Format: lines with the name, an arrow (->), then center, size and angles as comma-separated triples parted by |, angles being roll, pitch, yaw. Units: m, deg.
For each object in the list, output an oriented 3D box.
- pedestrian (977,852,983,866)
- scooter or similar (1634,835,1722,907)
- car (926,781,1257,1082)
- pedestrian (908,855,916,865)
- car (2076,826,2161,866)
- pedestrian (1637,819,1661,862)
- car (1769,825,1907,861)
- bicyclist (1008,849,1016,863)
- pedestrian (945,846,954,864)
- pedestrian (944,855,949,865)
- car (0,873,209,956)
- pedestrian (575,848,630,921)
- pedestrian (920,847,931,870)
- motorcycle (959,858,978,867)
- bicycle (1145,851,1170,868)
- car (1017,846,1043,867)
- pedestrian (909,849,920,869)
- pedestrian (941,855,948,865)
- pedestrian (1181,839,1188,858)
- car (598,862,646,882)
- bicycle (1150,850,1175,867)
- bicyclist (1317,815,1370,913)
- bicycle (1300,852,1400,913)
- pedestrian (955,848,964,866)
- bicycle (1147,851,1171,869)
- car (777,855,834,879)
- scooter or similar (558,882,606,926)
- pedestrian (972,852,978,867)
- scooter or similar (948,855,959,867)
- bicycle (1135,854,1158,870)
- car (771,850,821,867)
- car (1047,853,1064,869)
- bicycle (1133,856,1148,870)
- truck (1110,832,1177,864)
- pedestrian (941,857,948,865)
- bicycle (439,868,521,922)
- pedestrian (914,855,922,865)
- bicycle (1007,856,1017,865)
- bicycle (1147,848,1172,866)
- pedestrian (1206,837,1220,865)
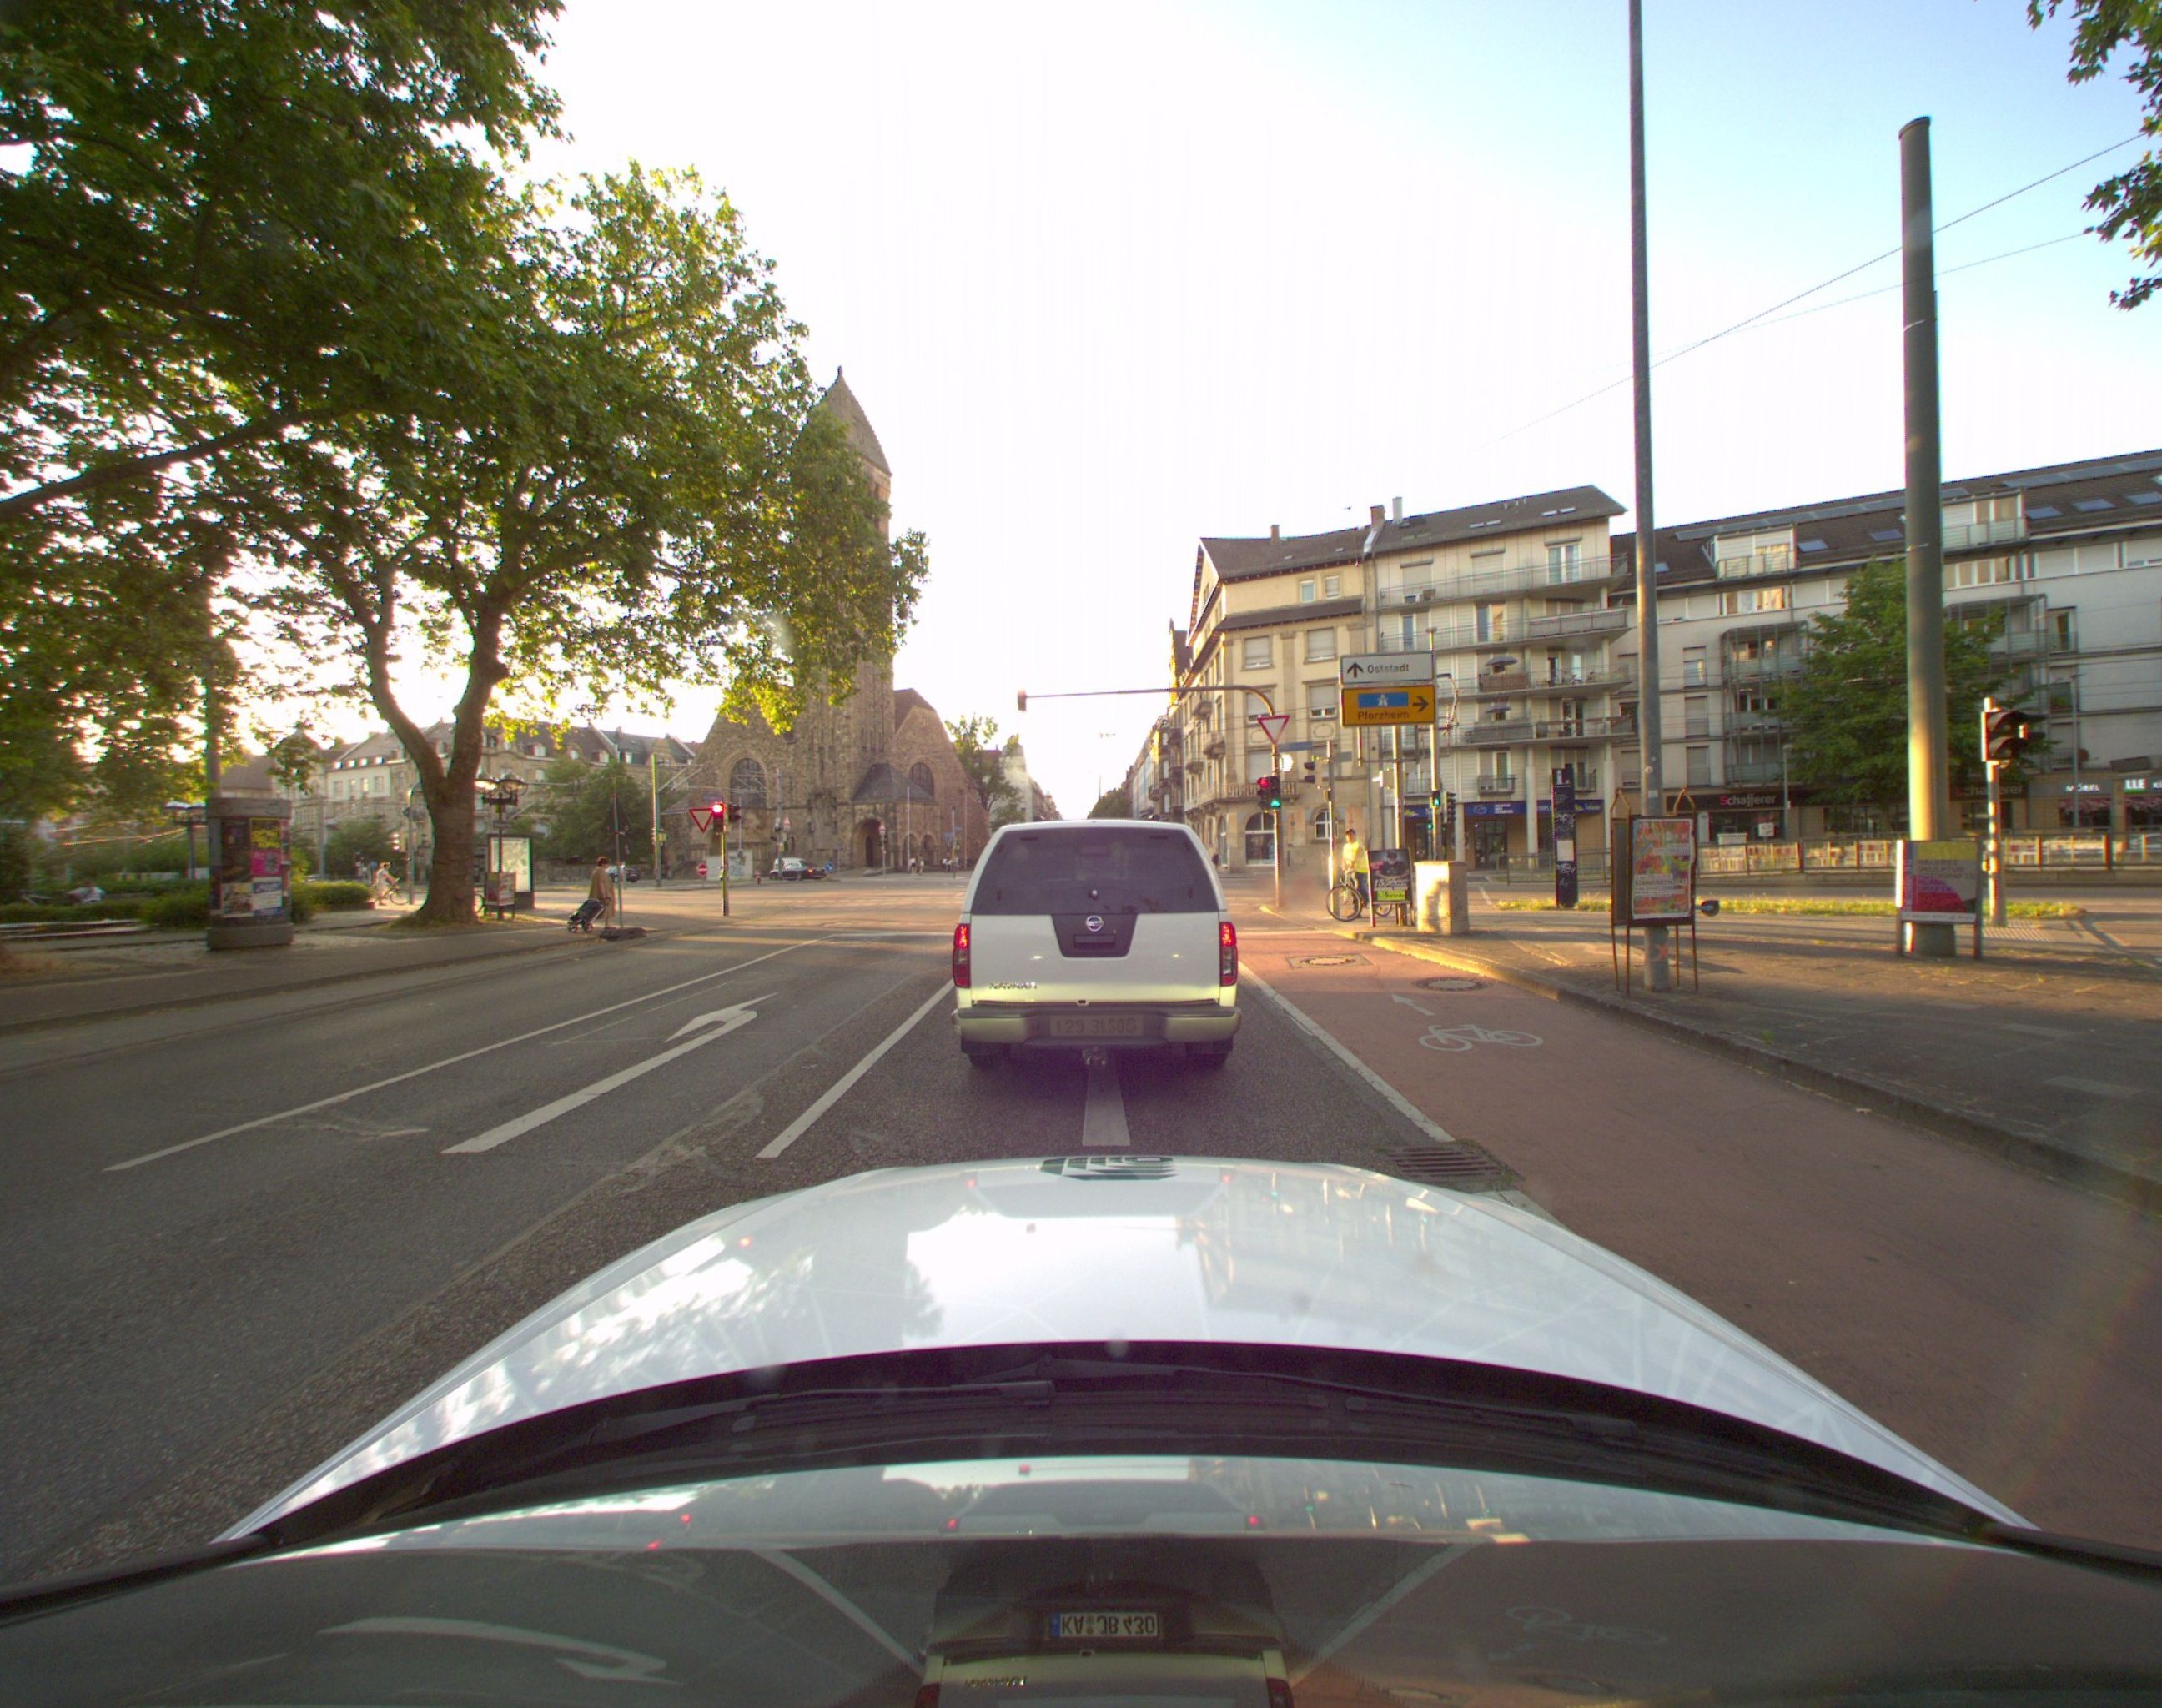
pedestrian -> -12.437, 0.633, 100.313 | 0.640, 1.695, 0.562 | -1, -1, 1
scooter or similar -> 10.693, 0.302, 14.606 | 1.219, 1.249, 0.518 | -1, -1, 41
car -> 0.124, 0.483, 6.914 | 1.986, 1.809, 4.001 | 0, 0, 2
pedestrian -> -15.651, 0.567, 75.518 | 0.517, 0.960, 0.482 | -1, -1, 21
car -> 41.426, -0.314, 31.089 | 3.950, 1.486, 1.860 | -1, -1, 26
pedestrian -> 29.453, -0.694, 42.242 | 0.860, 2.209, 0.825 | -1, -1, 21
car -> 32.686, -0.451, 35.295 | 3.952, 1.486, 1.859 | -1, -1, 21
bicyclist -> -8.057, 0.206, 94.722 | 0.602, 1.644, 0.956 | 0, -1, -24
pedestrian -> -12.529, 0.090, 77.765 | 0.629, 1.698, 0.605 | -1, 0, 16
pedestrian -> -13.390, 0.575, 81.130 | 0.522, 0.960, 0.477 | 0, -1, -14
car -> -26.752, 1.580, 21.491 | 1.975, 1.781, 4.669 | -2, 1, 27
pedestrian -> -10.817, 0.677, 18.433 | 0.800, 1.628, 0.773 | 0, -1, -3
pedestrian -> -13.351, 0.401, 69.772 | 0.809, 1.901, 0.666 | 0, -1, -1
motorcycle -> -13.327, 0.999, 96.515 | 2.146, 0.987, 0.597 | -1, -1, 21
bicycle -> 6.157, 0.433, 65.759 | 1.849, 1.238, 0.530 | -5, -1, -1
car -> -4.616, 0.163, 74.528 | 1.987, 1.784, 4.798 | -1, 1, 0
pedestrian -> -14.274, 0.407, 69.788 | 0.809, 1.669, 0.859 | 0, -1, -1
pedestrian -> -13.592, 0.587, 80.907 | 0.517, 0.960, 0.482 | -1, -1, 19
pedestrian -> 8.954, -0.447, 70.184 | 0.525, 1.654, 0.547 | -1, -1, 1
car -> -38.727, 1.496, 68.674 | 3.948, 1.684, 2.013 | -1, -1, 36
bicycle -> 6.213, 0.362, 62.243 | 1.812, 1.150, 0.636 | -5, -1, -1
bicyclist -> 4.992, 0.184, 15.500 | 0.701, 1.824, 0.622 | 0, -1, -31
bicycle -> 5.165, 0.514, 15.588 | 2.079, 1.109, 0.622 | 0, -1, -31
pedestrian -> -11.630, 0.310, 77.699 | 0.629, 1.698, 0.605 | -1, -1, 15
bicycle -> 6.112, 0.452, 63.897 | 1.812, 1.238, 0.477 | -5, -1, -1
car -> -20.340, 0.978, 60.043 | 3.948, 1.618, 2.012 | -1, -4, 36
scooter or similar -> -10.750, 1.066, 17.549 | 0.591, 0.898, 0.849 | 0, -1, -9
pedestrian -> -12.738, 0.660, 98.103 | 0.642, 1.695, 0.560 | 0, -1, -7
scooter or similar -> -12.039, 0.682, 76.955 | 0.628, 1.103, 1.083 | -1, 1, 17
bicycle -> 5.051, 0.619, 62.733 | 1.721, 1.083, 0.317 | -5, -1, -1
car -> -26.337, 0.446, 75.366 | 1.698, 1.517, 4.482 | -1, -1, 26
car -> -3.512, 0.951, 113.306 | 1.987, 2.013, 4.951 | -2, 0, 0
bicycle -> 4.658, 0.674, 63.625 | 1.073, 1.024, 0.317 | -5, -1, -1
truck -> 5.333, -0.524, 68.834 | 5.704, 2.565, 2.260 | -1, 0, -42
pedestrian -> -14.933, 0.757, 89.064 | 0.547, 0.960, 0.713 | -1, -1, 22
bicycle -> -15.819, 1.059, 21.504 | 0.522, 1.326, 1.998 | -1, -1, 7
pedestrian -> -15.039, 0.559, 75.228 | 0.517, 0.960, 0.482 | -1, -1, 21
bicycle -> -8.039, 0.769, 94.717 | 0.601, 1.043, 1.931 | 0, -1, -23
bicycle -> 6.112, 0.243, 63.187 | 1.812, 1.238, 0.488 | -5, -1, -1
pedestrian -> 8.578, -0.190, 52.890 | 0.779, 1.779, 0.546 | -1, -1, 27
